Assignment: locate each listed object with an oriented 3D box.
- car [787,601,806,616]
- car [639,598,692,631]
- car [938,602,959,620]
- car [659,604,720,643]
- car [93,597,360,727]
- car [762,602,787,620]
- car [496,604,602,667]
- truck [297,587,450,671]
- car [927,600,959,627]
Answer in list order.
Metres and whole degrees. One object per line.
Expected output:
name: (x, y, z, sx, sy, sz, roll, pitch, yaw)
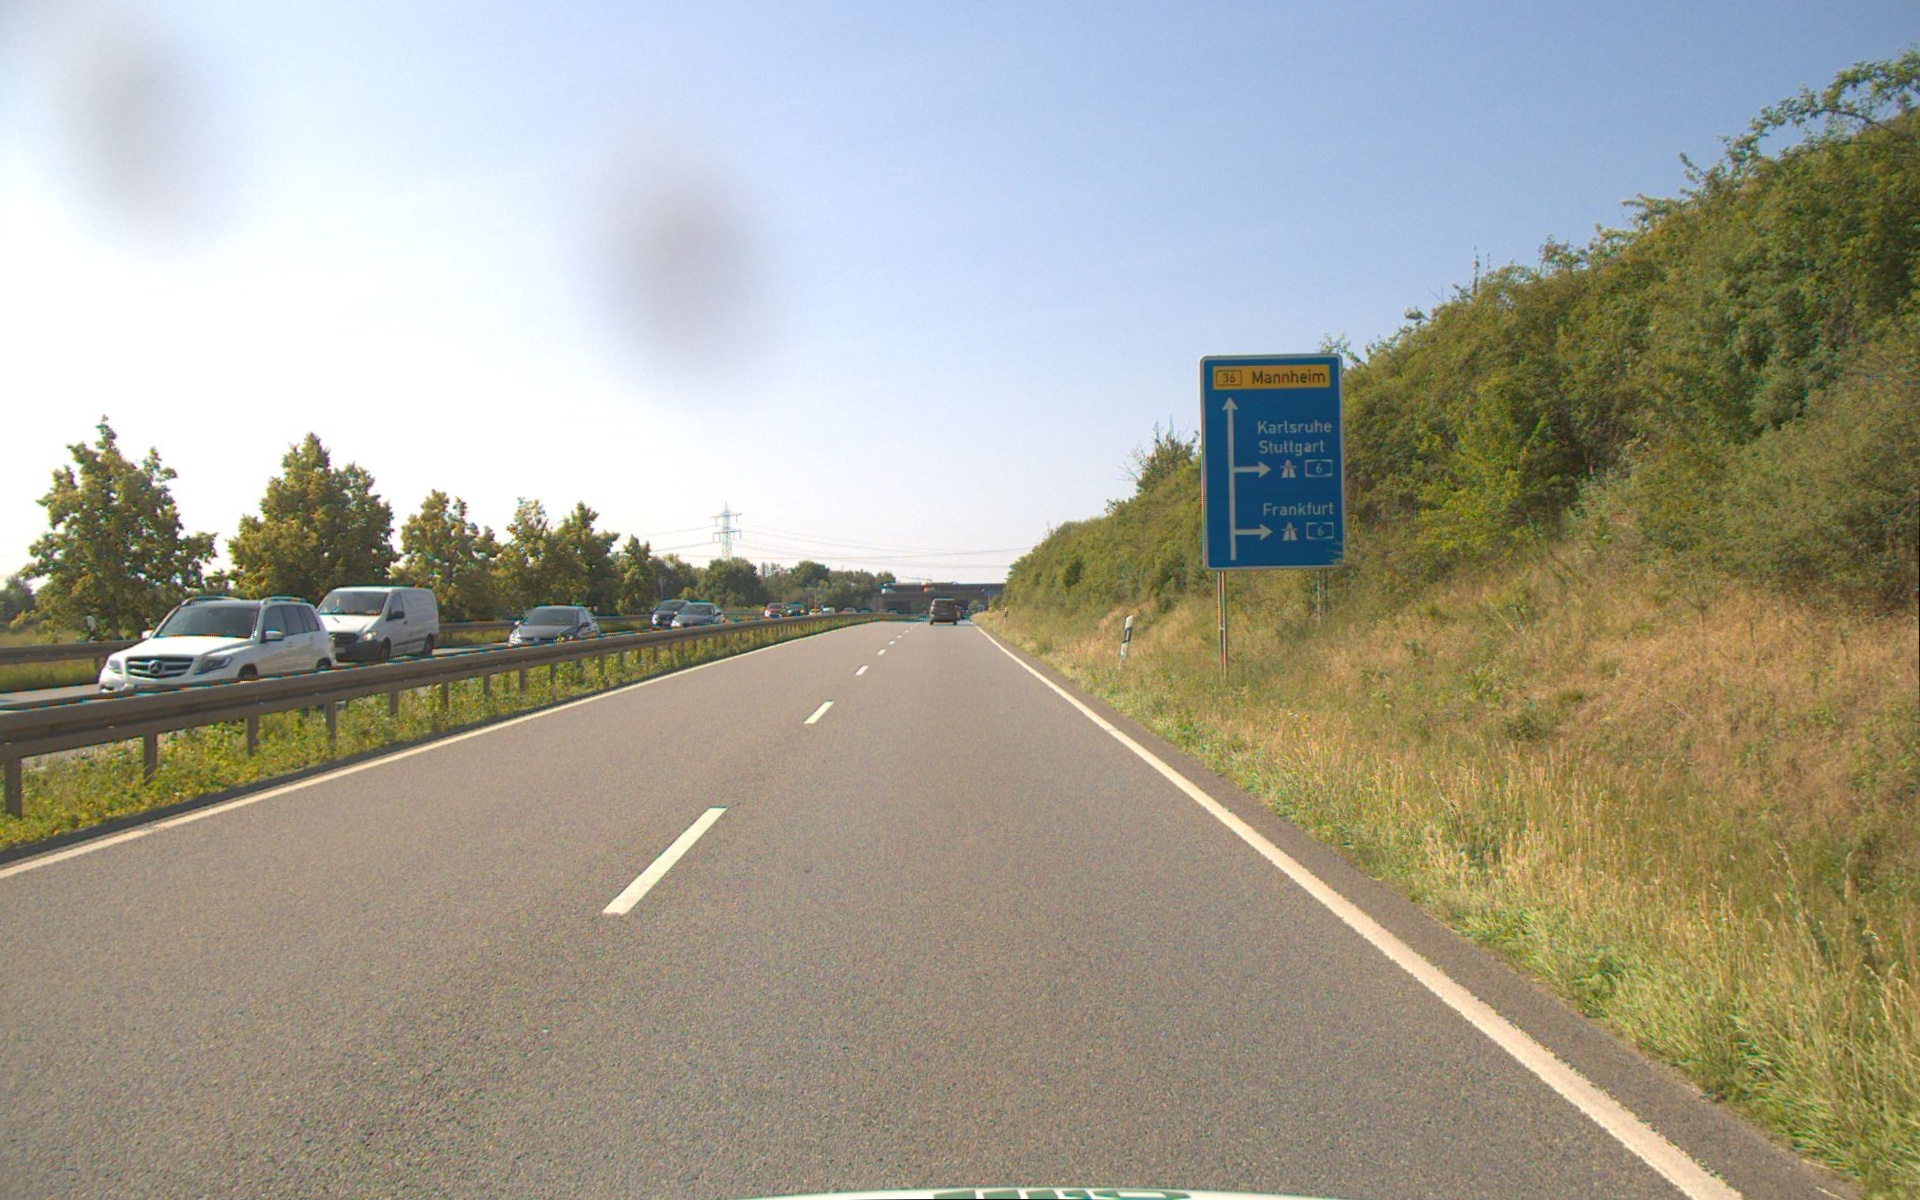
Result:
car: (-17.422, 0.915, 176.488, 1.691, 1.623, 4.220, 0, 0, -1)
car: (-14.675, 0.708, 82.709, 1.775, 1.569, 4.454, -1, 0, 1)
car: (-1.078, 1.046, 157.525, 1.759, 1.694, 4.001, 2, 0, 2)
car: (-11.242, 0.956, 69.084, 1.775, 1.569, 4.453, -1, 0, 0)
car: (-10.517, 0.825, 24.149, 1.801, 1.694, 4.721, 1, 0, 0)
car: (-17.086, 0.984, 152.427, 1.806, 1.621, 4.773, 1, 0, 0)
car: (-10.792, 0.900, 43.683, 1.802, 1.471, 4.037, 2, 1, -1)
truck: (-14.103, 0.628, 40.135, 1.883, 1.872, 5.291, 0, 1, -1)
car: (-1.075, 0.847, 105.767, 1.811, 1.673, 4.001, 0, -1, 2)
